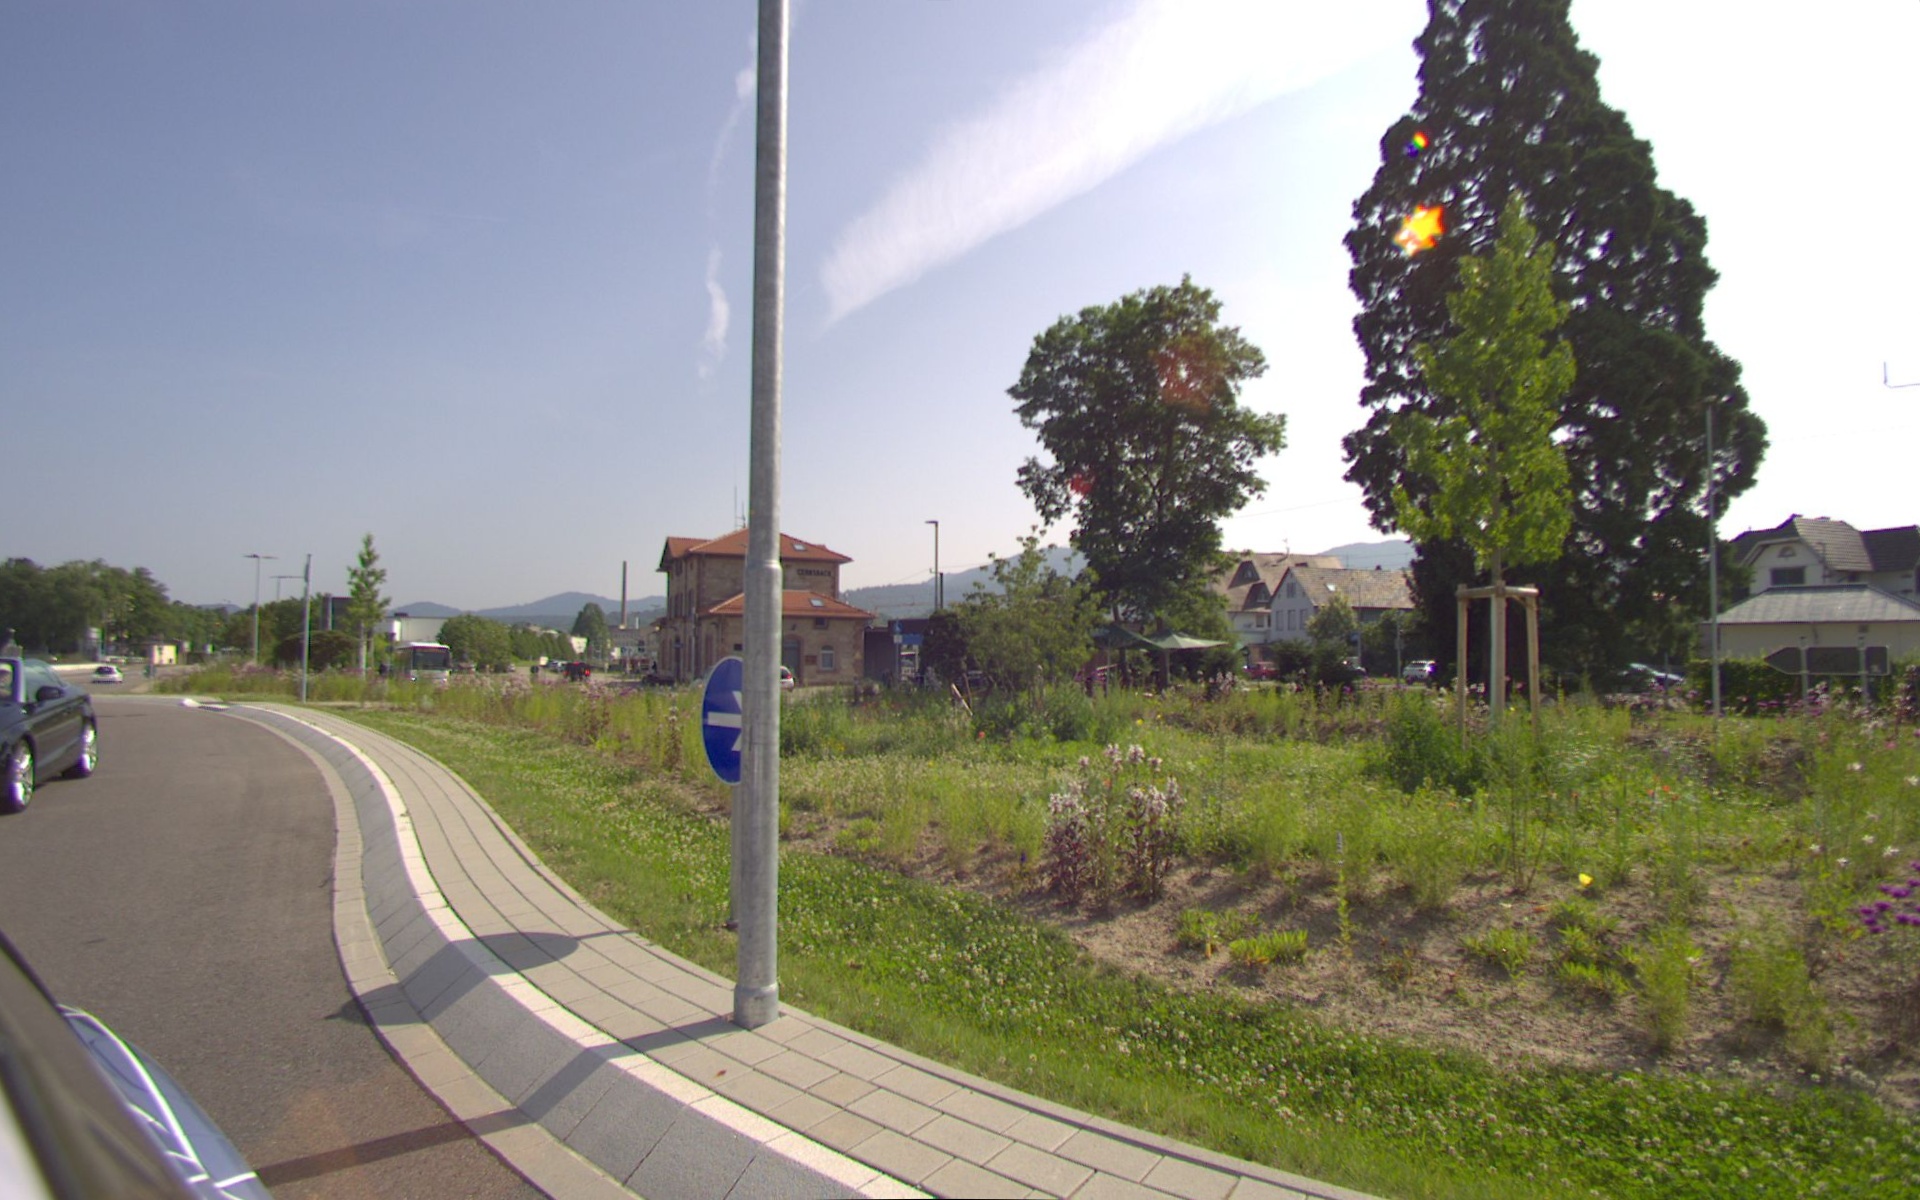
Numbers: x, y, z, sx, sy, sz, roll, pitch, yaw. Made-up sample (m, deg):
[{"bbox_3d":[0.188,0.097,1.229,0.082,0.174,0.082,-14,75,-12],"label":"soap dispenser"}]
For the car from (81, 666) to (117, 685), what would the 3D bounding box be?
[{"bbox_3d":[-69.562,6.066,81.787,3.999,1.409,1.757,-4,-3,43],"label":"car"}]

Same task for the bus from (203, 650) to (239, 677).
[{"bbox_3d":[-90.950,7.781,124.651,2.821,3.216,9.143,1,-3,-32],"label":"bus"}]

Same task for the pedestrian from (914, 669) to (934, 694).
[{"bbox_3d":[-1.686,3.804,47.256,0.680,1.173,0.551,-4,-3,42],"label":"pedestrian"}]

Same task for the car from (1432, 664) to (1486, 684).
[{"bbox_3d":[30.894,4.567,62.679,3.130,1.106,1.384,-1,-1,-26],"label":"car"}]

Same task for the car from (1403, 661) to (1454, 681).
[{"bbox_3d":[30.264,4.578,65.409,3.131,1.106,1.384,-1,-1,-29],"label":"car"}]

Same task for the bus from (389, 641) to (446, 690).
[{"bbox_3d":[-40.923,4.893,76.131,2.545,3.354,10.614,0,-3,-35],"label":"bus"}]

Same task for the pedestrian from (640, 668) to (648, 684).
[{"bbox_3d":[-23.202,5.571,74.335,0.503,1.171,0.508,-1,-3,-25],"label":"pedestrian"}]

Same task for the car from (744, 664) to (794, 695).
[{"bbox_3d":[-10.895,4.492,57.547,1.651,1.580,3.662,0,-1,-31],"label":"car"}]

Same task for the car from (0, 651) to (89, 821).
[{"bbox_3d":[-9.431,1.174,9.271,1.694,1.332,4.235,1,-3,-34],"label":"car"}]

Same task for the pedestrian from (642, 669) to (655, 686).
[{"bbox_3d":[-22.204,5.486,72.062,0.777,1.171,0.508,-1,-3,-25],"label":"pedestrian"}]

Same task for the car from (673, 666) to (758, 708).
[{"bbox_3d":[-9.774,3.437,40.271,1.648,1.543,4.007,4,-5,-39],"label":"car"}]

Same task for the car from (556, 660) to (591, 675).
[{"bbox_3d":[-51.573,8.993,134.945,3.941,1.741,1.839,0,-3,-45],"label":"car"}]

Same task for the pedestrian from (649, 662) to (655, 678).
[{"bbox_3d":[-24.142,5.474,79.235,0.365,1.171,0.508,-1,-3,-25],"label":"pedestrian"}]

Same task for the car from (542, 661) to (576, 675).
[{"bbox_3d":[-54.829,9.242,138.462,3.941,1.741,1.839,0,-3,-45],"label":"car"}]

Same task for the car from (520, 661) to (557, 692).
[{"bbox_3d":[-30.282,5.466,72.883,1.945,1.980,5.172,-1,-2,-17],"label":"car"}]

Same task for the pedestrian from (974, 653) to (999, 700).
[{"bbox_3d":[1.184,3.420,45.212,0.706,2.029,0.850,-3,-3,30],"label":"pedestrian"}]
